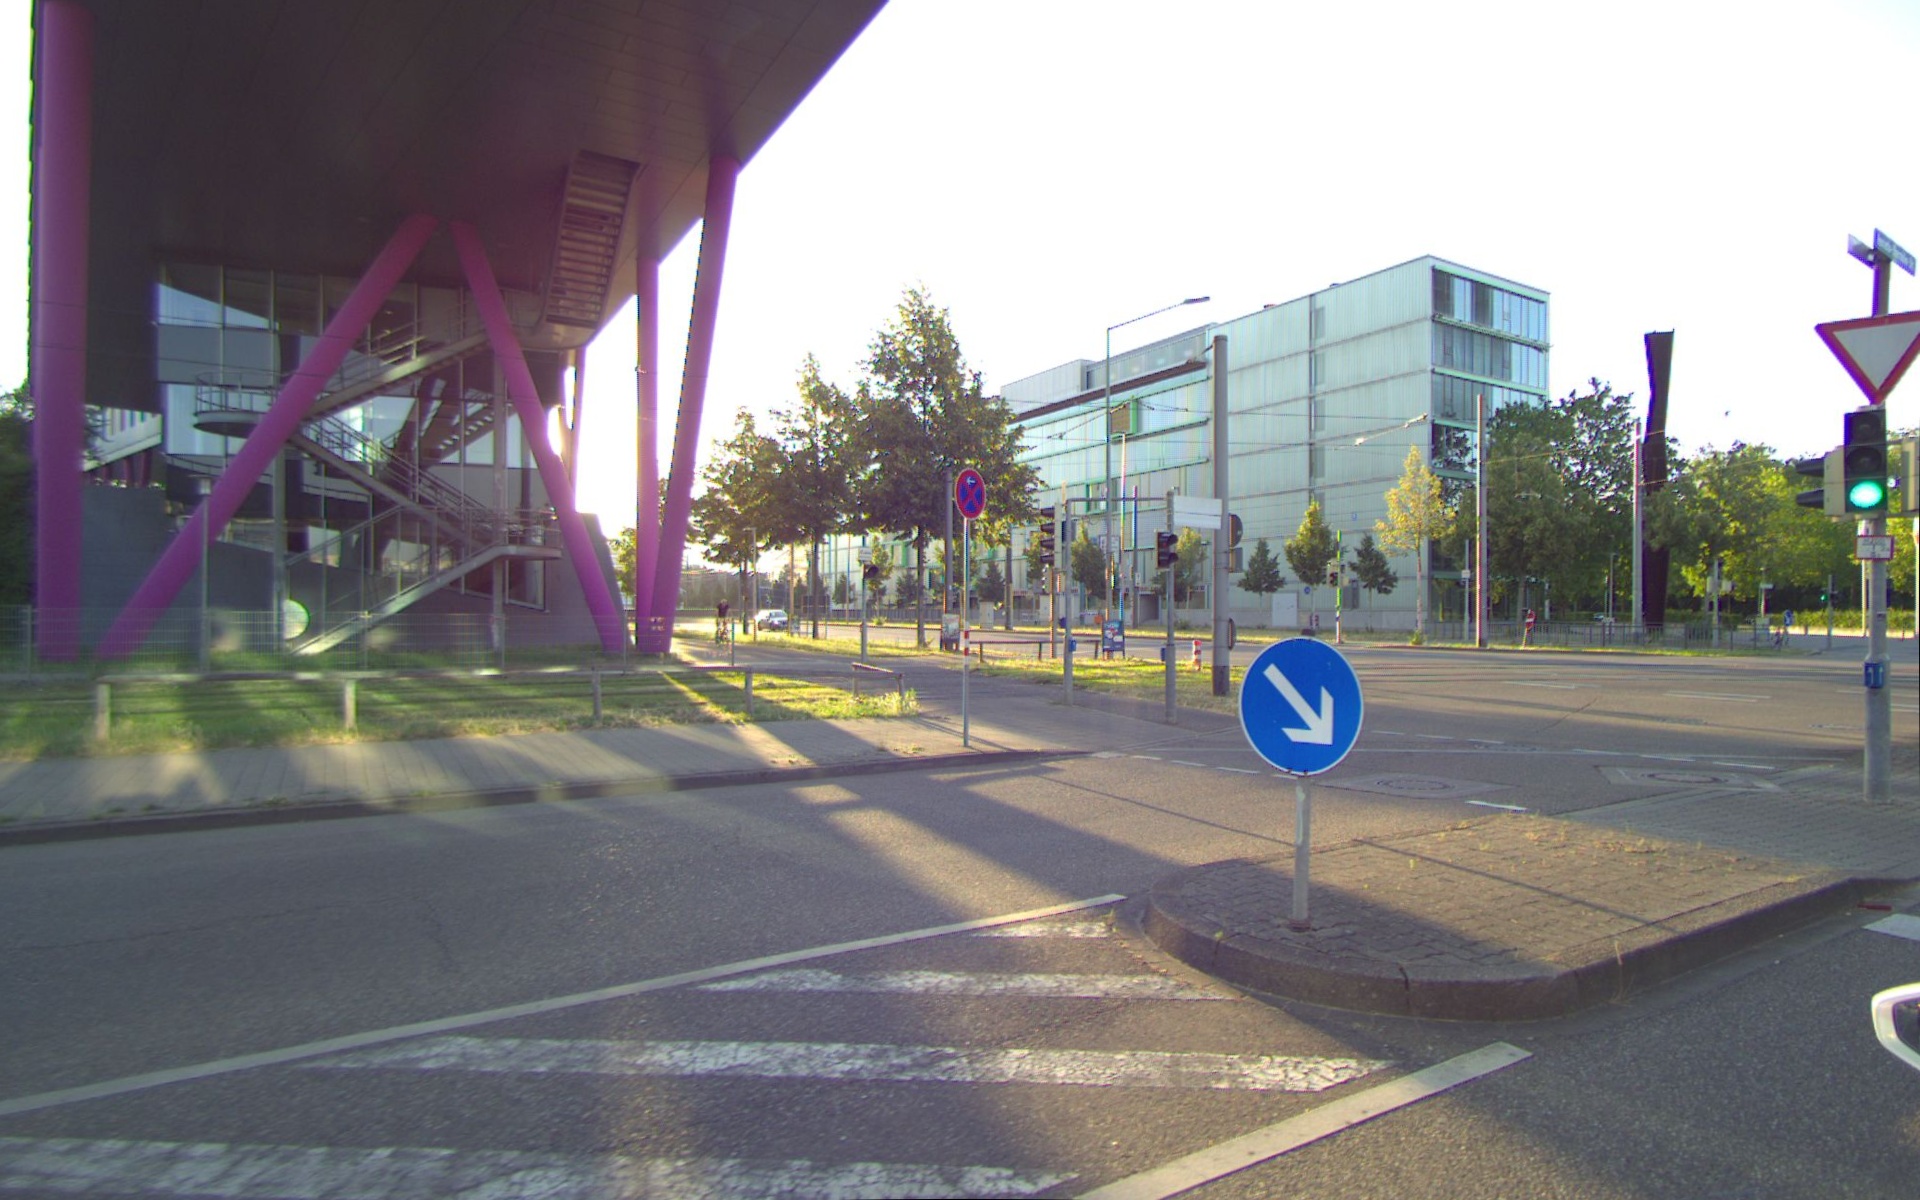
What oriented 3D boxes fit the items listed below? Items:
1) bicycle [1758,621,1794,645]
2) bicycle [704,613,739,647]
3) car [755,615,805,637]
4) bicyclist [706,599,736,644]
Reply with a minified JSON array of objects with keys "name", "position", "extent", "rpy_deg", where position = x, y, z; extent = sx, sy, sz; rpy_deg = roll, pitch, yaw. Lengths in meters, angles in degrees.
[{"name":"bicycle","position":[40.302,1.599,49.582],"extent":[2.367,1.151,0.695],"rpy_deg":[1,0,-33]},{"name":"bicycle","position":[-8.972,1.119,37.697],"extent":[0.734,1.223,2.094],"rpy_deg":[1,-1,-29]},{"name":"car","position":[-12.547,1.765,69.903],"extent":[1.979,1.439,3.962],"rpy_deg":[1,0,-34]},{"name":"bicyclist","position":[-8.975,0.806,37.705],"extent":[0.798,1.655,1.278],"rpy_deg":[0,0,-29]}]
